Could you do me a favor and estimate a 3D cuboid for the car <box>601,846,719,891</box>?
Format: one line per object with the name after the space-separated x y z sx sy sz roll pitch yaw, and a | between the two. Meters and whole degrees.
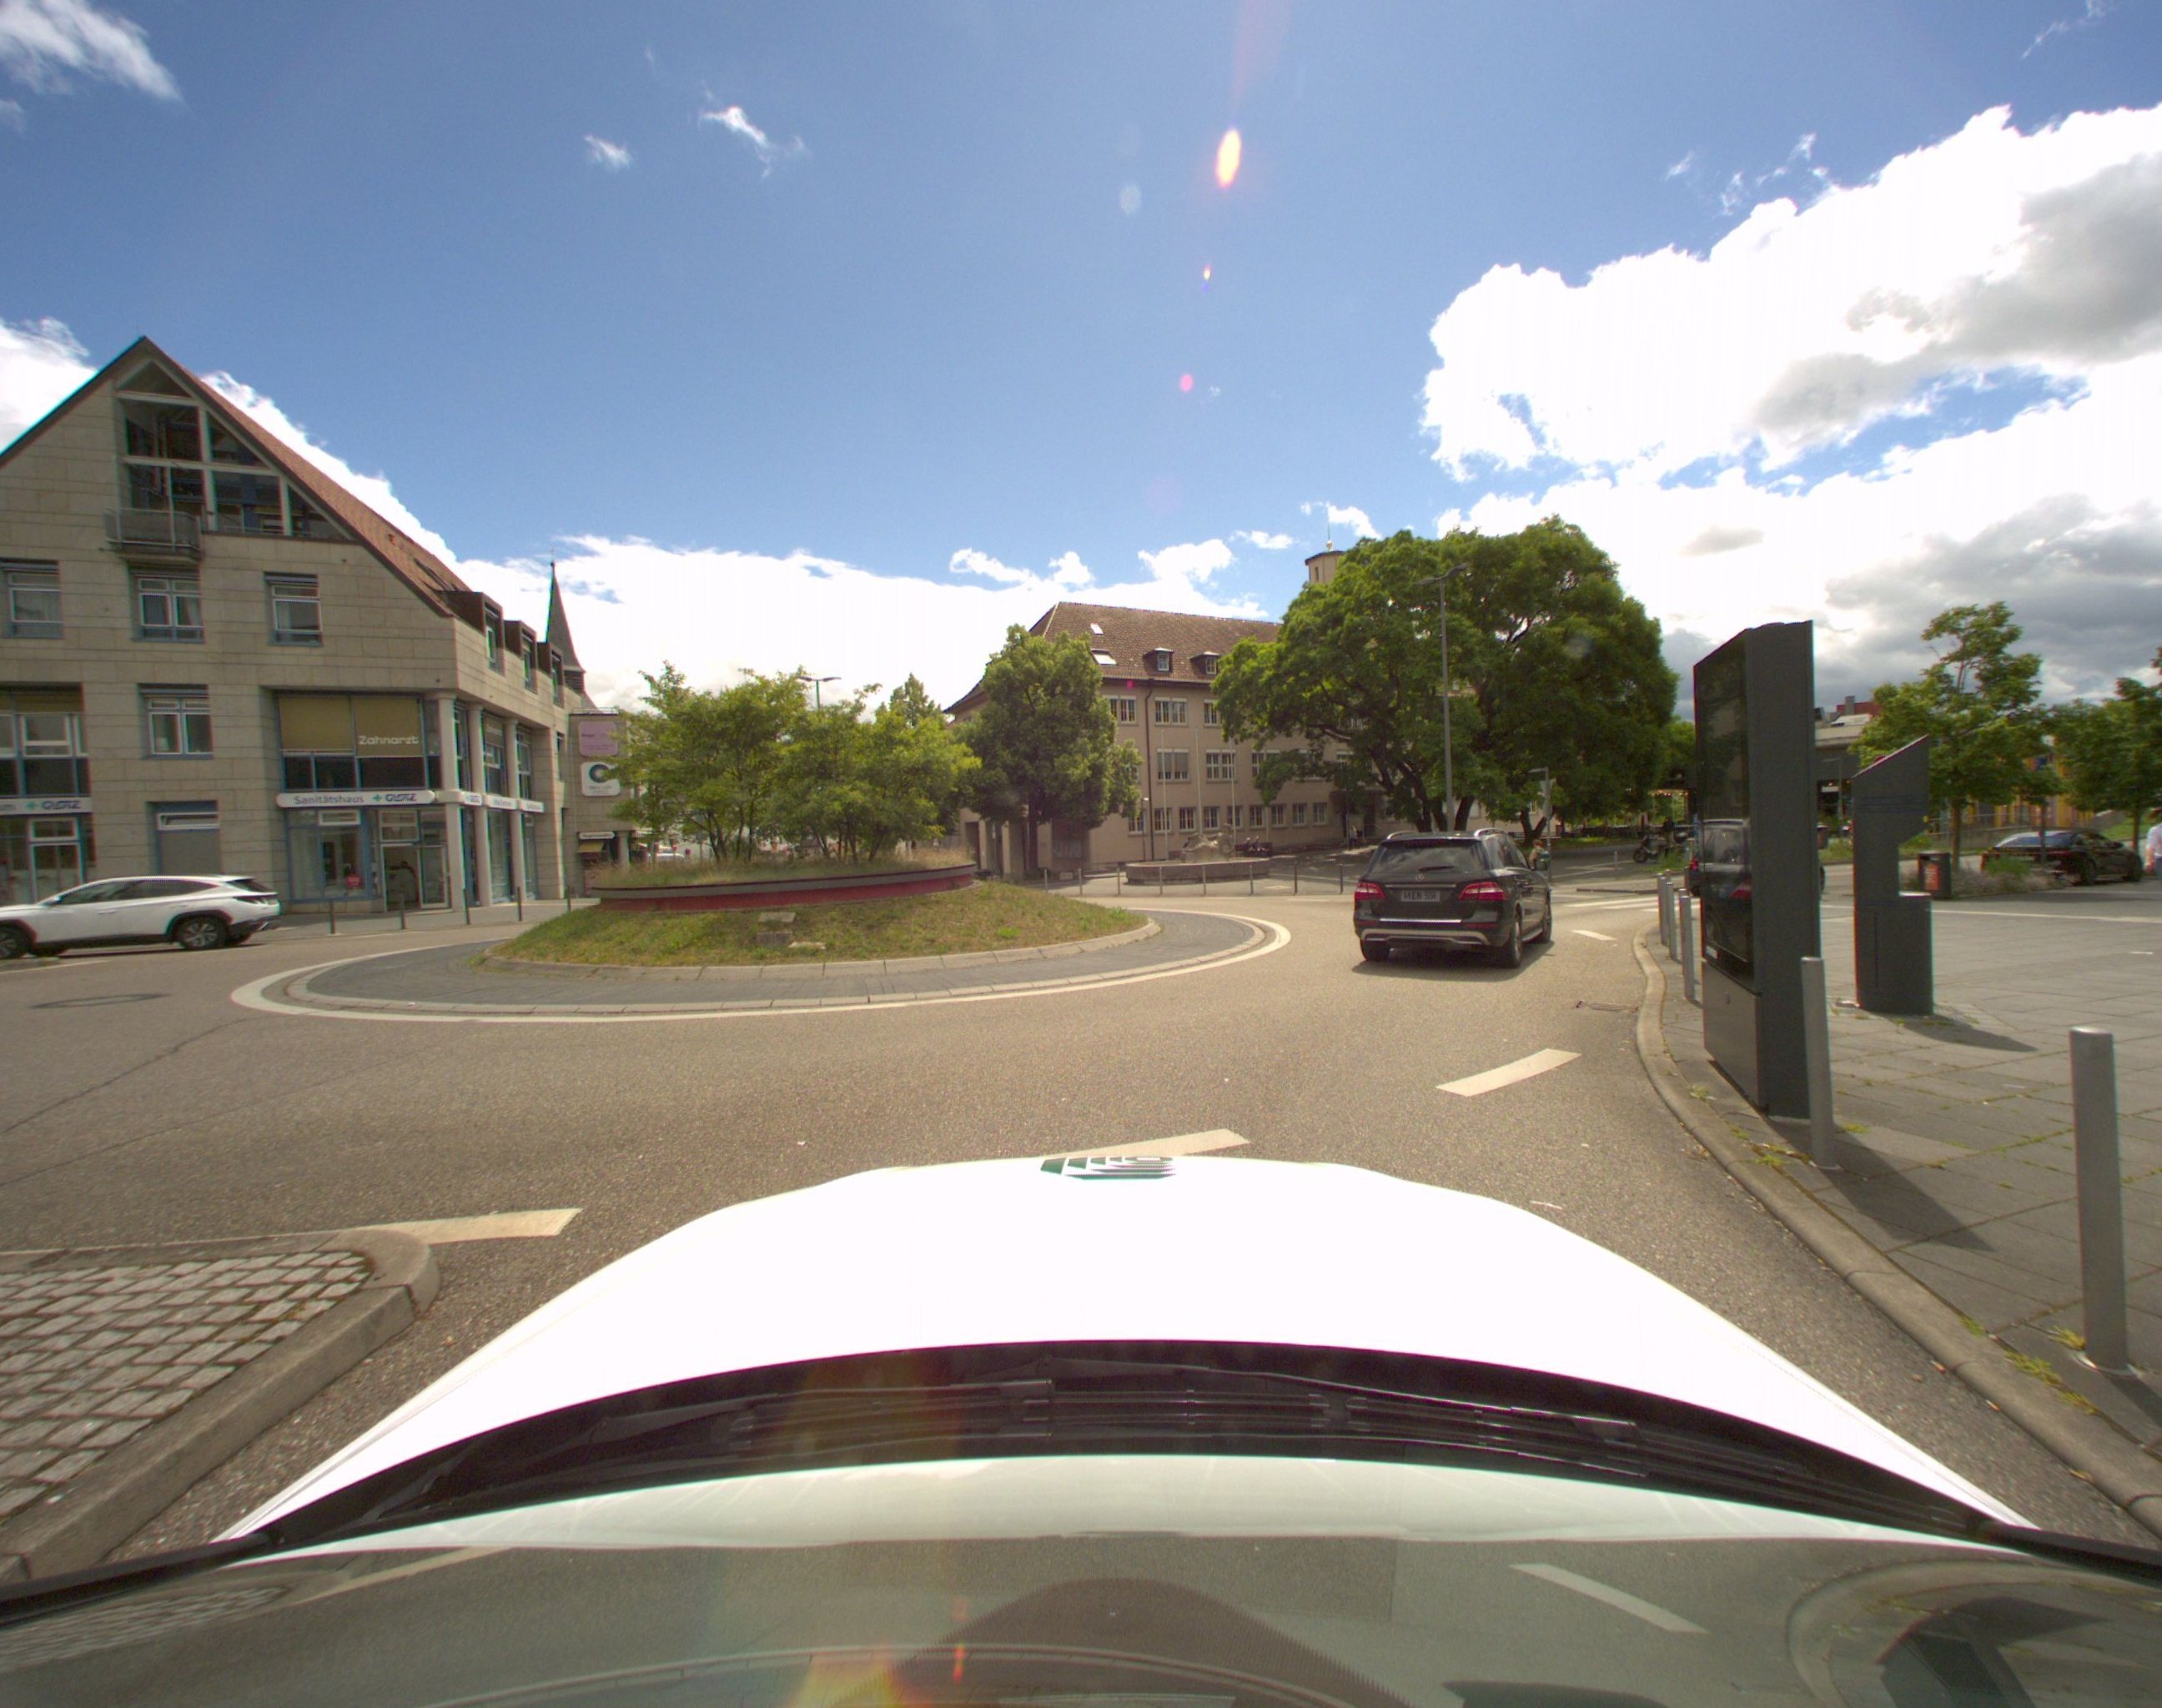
-26.095 0.900 50.579 6.329 2.560 2.183 -1 -3 -33 | car

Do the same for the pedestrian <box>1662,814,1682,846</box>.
29.846 -1.211 41.147 0.618 1.577 0.577 -2 0 -30 | pedestrian

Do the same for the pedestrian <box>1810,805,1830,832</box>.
41.319 -1.973 45.528 0.615 1.463 0.580 -2 0 -15 | pedestrian

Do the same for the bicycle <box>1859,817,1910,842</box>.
37.314 -1.130 37.829 0.579 1.091 1.561 -2 1 -23 | bicycle

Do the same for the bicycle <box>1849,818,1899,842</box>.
36.564 -1.094 37.583 0.539 1.069 1.561 -2 1 -23 | bicycle

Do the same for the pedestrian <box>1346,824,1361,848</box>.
17.217 -1.104 51.479 0.694 1.492 0.817 -1 0 7 | pedestrian

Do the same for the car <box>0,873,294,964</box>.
-20.008 1.301 17.311 4.393 1.581 1.844 -2 -1 -34 | car

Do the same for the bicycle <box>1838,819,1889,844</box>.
35.832 -1.040 37.321 0.579 1.091 1.561 -2 1 -23 | bicycle

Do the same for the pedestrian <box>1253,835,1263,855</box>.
10.787 -0.552 49.722 0.482 1.222 0.584 -1 0 24 | pedestrian

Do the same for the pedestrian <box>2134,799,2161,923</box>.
15.674 0.085 11.627 0.780 1.745 0.699 -2 0 -41 | pedestrian

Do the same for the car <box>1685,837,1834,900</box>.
17.364 0.325 20.826 3.846 1.383 1.599 -2 0 -28 | car

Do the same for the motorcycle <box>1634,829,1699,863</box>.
23.629 -0.337 32.916 0.583 1.289 2.124 -4 3 -21 | motorcycle

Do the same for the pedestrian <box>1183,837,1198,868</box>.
5.620 -0.083 41.908 0.636 1.523 0.575 -1 4 -9 | pedestrian

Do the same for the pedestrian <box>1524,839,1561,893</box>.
13.514 0.328 23.869 0.550 1.514 0.785 -4 3 -10 | pedestrian

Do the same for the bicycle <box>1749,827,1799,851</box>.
29.468 -0.639 34.666 0.499 0.997 1.607 -2 1 -17 | bicycle

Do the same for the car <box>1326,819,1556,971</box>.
5.314 0.441 11.633 2.007 1.727 4.462 -2 0 37 | car

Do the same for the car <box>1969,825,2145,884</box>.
26.577 0.000 22.171 4.378 1.406 1.848 -2 0 -23 | car

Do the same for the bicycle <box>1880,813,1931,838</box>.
39.035 -1.343 38.577 0.579 1.091 1.561 -2 1 -23 | bicycle

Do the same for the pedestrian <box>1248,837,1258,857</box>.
10.386 -0.432 49.085 0.482 1.182 0.584 -1 0 24 | pedestrian
